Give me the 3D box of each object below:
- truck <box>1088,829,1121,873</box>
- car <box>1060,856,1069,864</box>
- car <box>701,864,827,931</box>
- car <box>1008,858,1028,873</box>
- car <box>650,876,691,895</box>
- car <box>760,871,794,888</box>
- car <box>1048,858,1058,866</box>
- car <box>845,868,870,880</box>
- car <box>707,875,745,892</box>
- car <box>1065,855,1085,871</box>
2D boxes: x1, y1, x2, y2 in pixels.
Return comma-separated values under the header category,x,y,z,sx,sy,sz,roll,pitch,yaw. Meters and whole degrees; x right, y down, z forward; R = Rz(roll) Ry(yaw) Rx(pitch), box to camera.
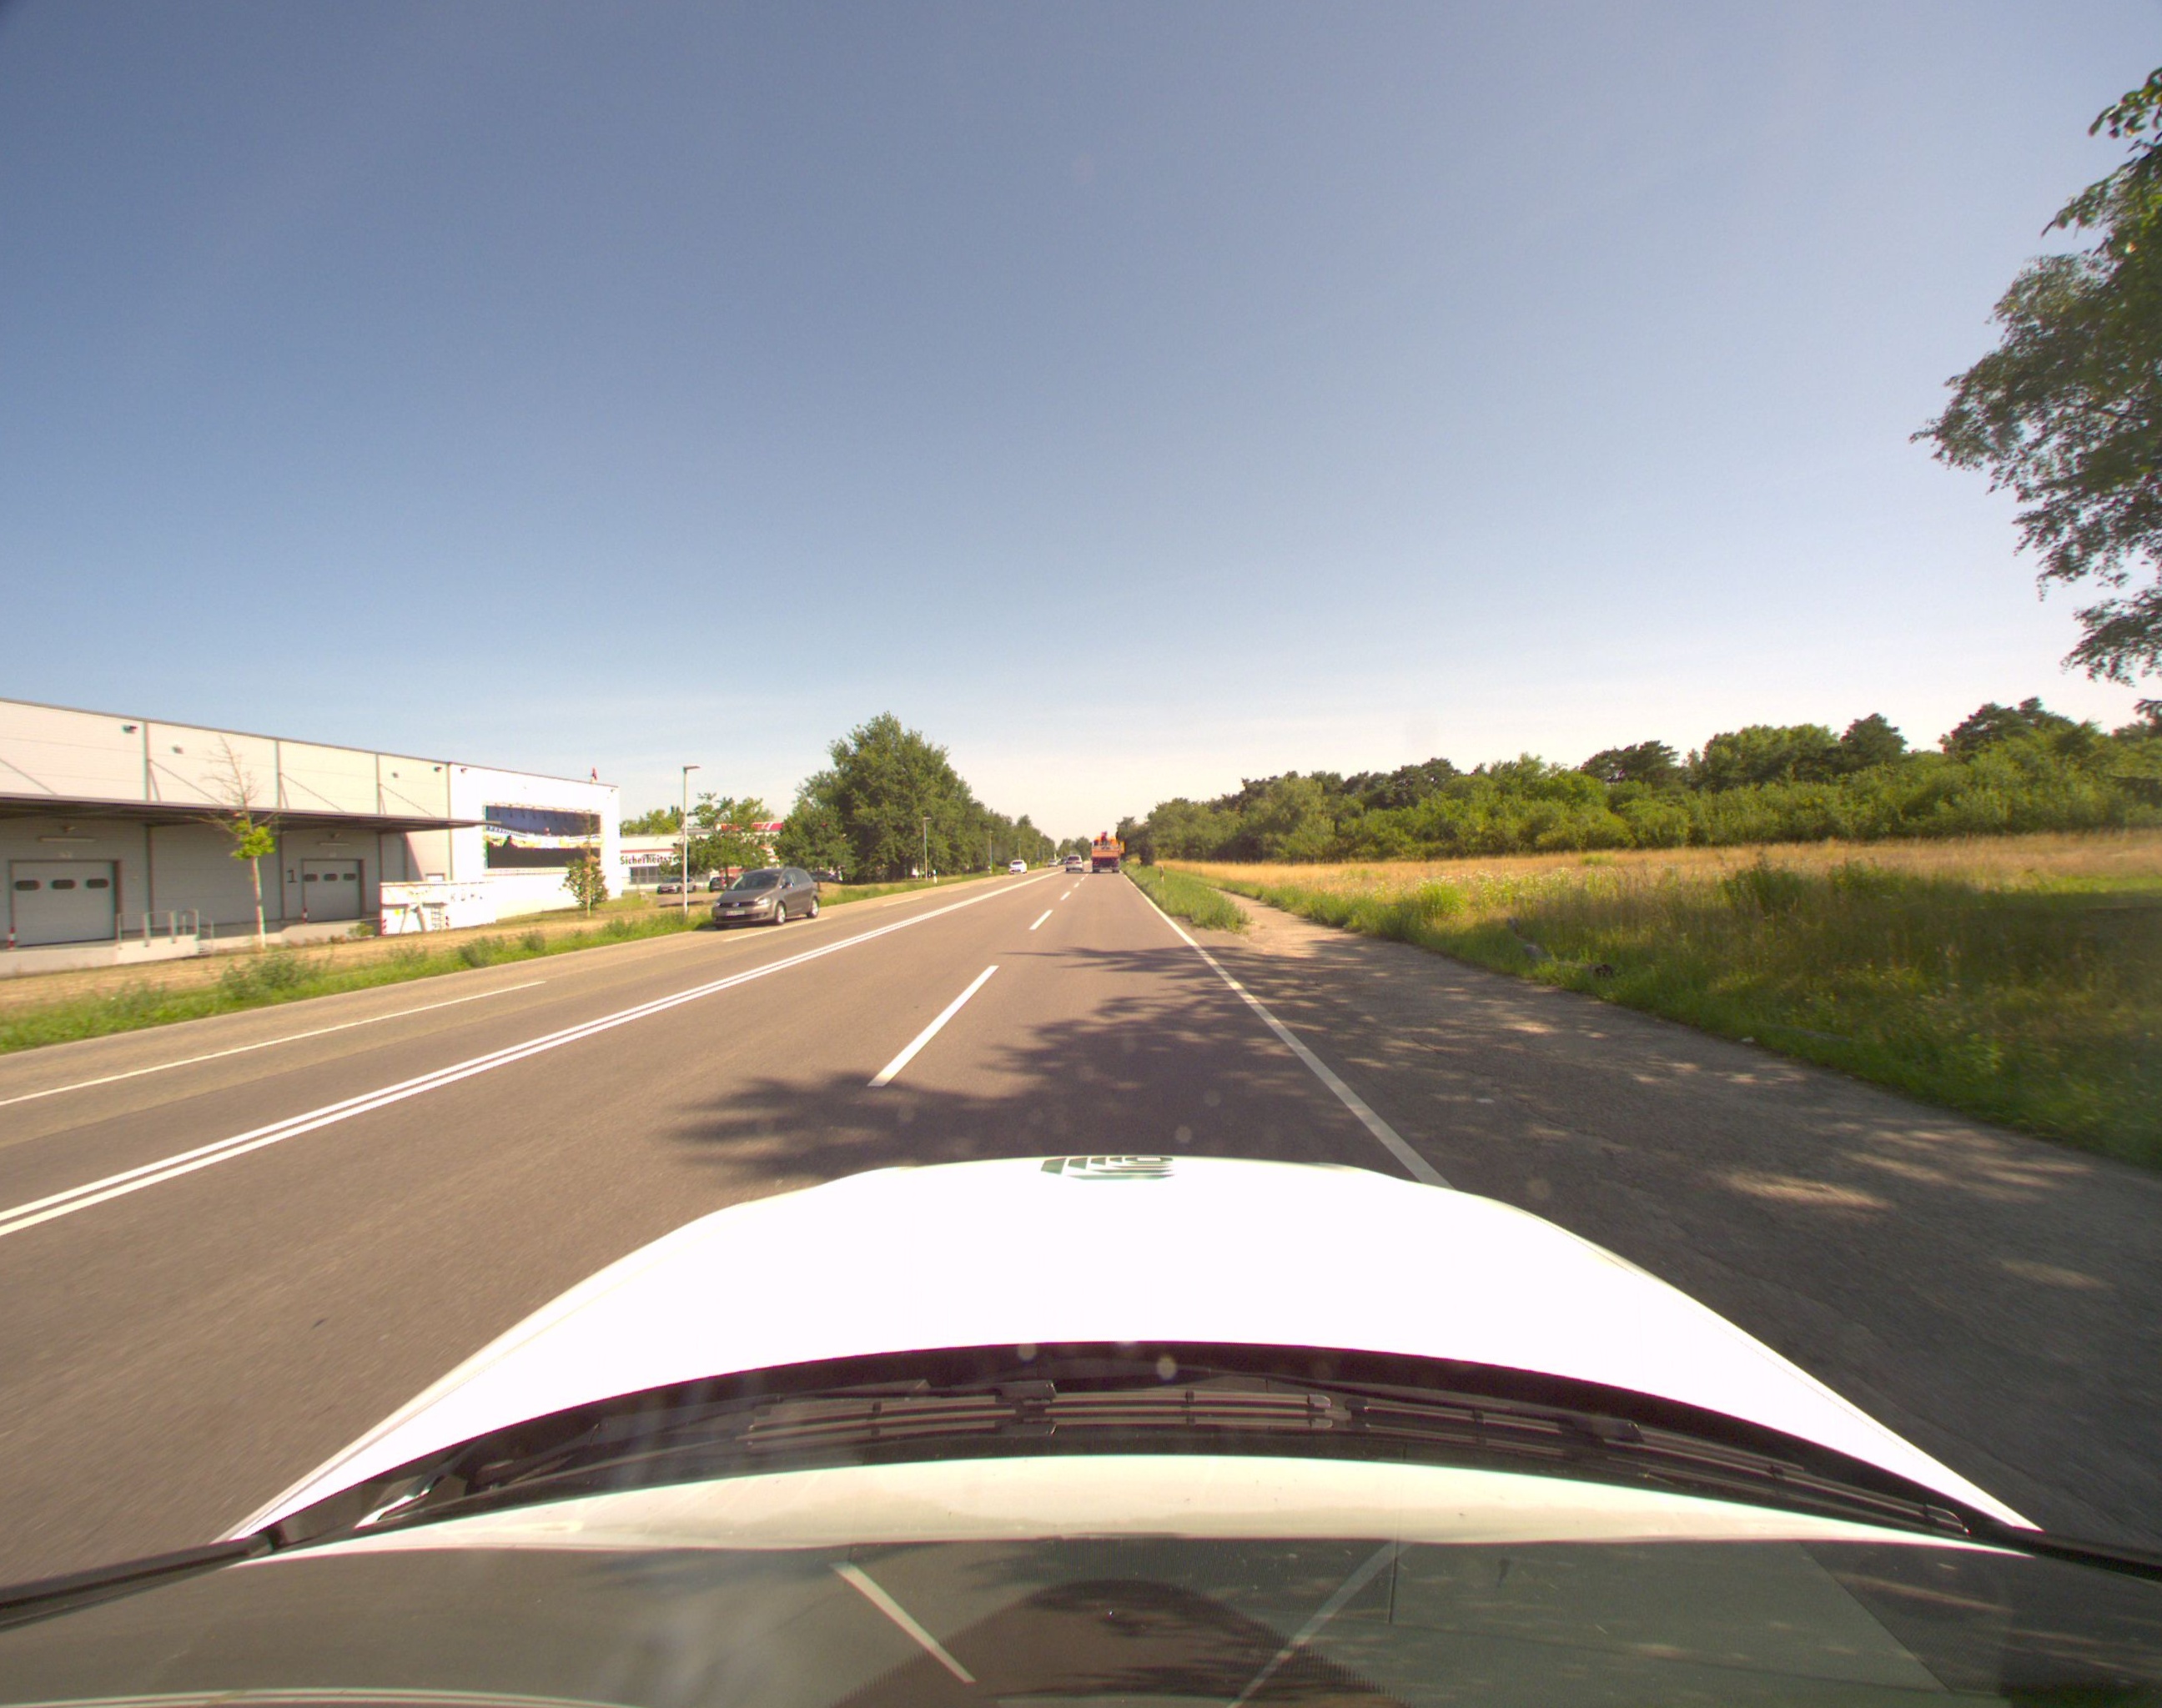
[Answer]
category,x,y,z,sx,sy,sz,roll,pitch,yaw
truck,2.111,-0.231,75.823,2.863,3.880,7.397,0,0,-1
car,-3.897,1.380,192.700,1.819,1.671,4.389,-4,0,0
car,-8.785,1.138,23.002,1.723,1.561,4.216,-4,0,1
car,-6.707,1.250,87.447,1.653,1.437,3.736,-4,0,1
car,-36.252,2.774,72.068,1.630,1.410,3.723,-3,0,1
car,-29.750,2.475,79.729,1.750,1.500,3.951,-2,0,-42
car,-5.157,1.439,150.240,1.592,1.442,4.001,-4,0,1
car,-28.222,2.553,102.888,1.782,1.349,4.661,-4,0,-1
car,-31.483,2.592,72.266,1.630,1.390,3.723,-3,0,1
car,-0.657,0.906,85.504,1.987,1.583,3.999,-2,0,0
